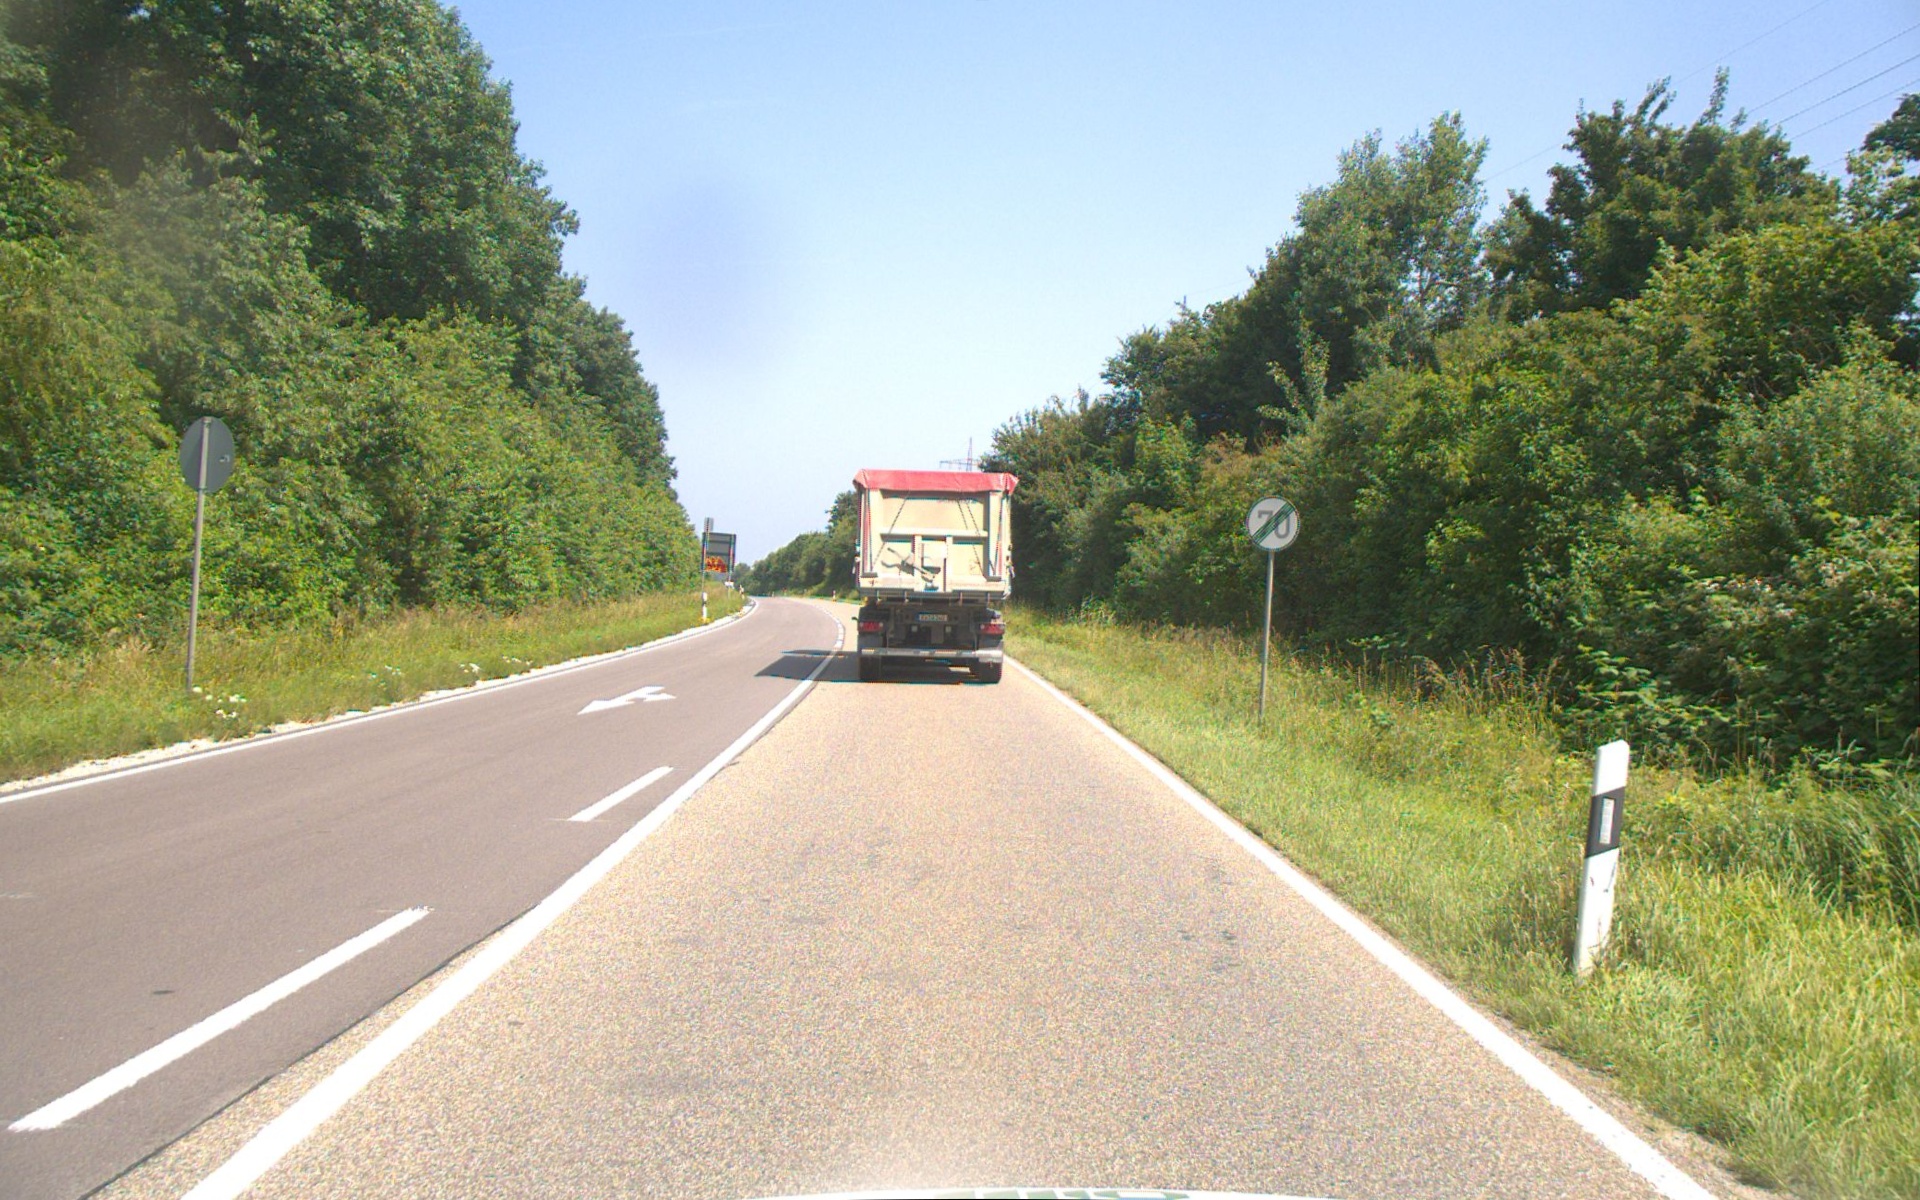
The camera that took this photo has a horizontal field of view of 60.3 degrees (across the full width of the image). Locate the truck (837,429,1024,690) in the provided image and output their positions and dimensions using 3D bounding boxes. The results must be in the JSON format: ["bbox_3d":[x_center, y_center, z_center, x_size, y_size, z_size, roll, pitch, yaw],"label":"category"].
[{"bbox_3d":[-0.456,-0.671,31.994,2.834,4.031,11.932,1,0,0],"label":"truck"}]
